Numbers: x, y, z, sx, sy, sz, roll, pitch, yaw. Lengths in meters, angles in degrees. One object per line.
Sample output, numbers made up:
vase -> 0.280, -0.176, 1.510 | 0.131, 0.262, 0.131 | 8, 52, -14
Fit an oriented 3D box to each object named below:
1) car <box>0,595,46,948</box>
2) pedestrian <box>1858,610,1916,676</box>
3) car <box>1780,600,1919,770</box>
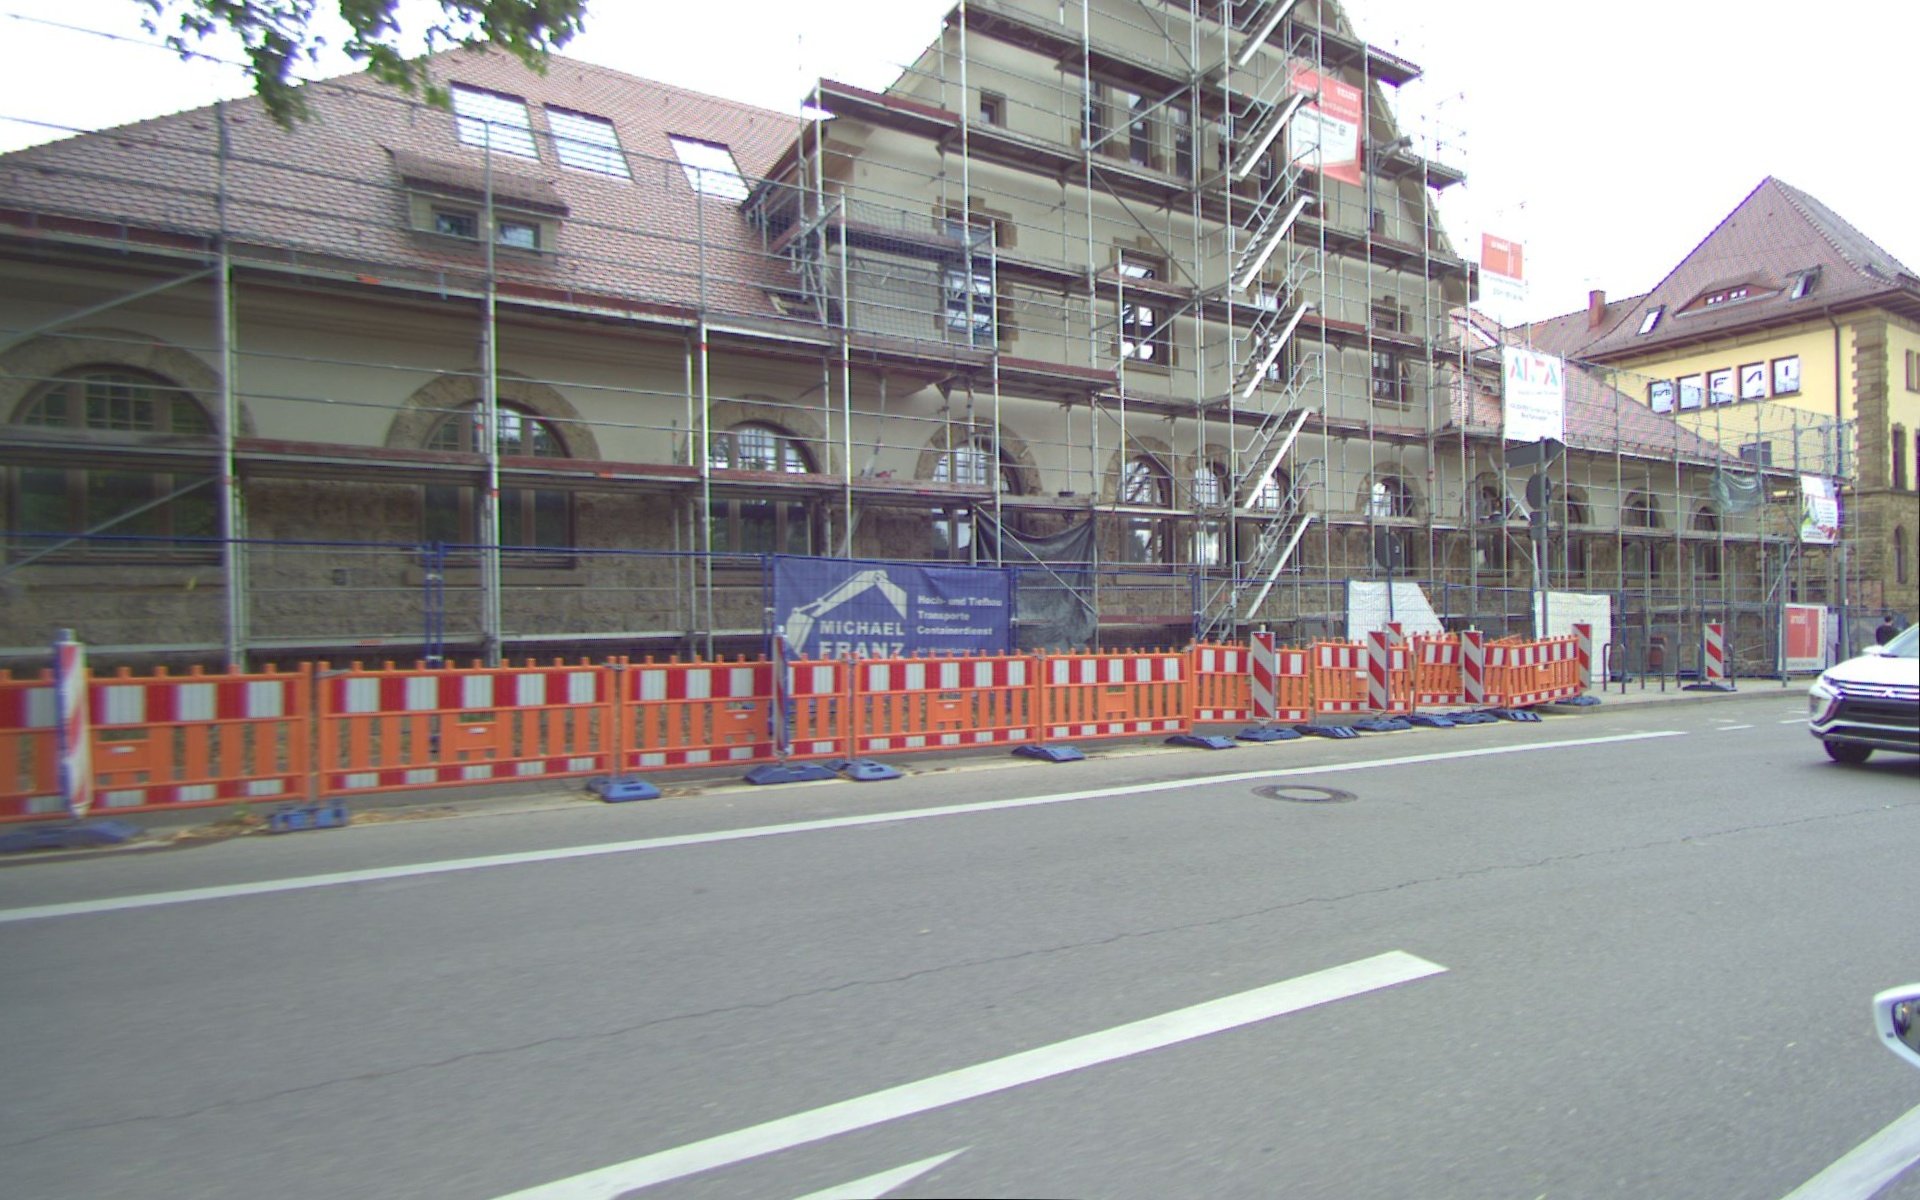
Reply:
car -> -5.917, 0.661, 2.691 | 4.792, 1.491, 1.793 | 2, -2, -30
pedestrian -> 25.358, 1.177, 27.476 | 0.788, 1.743, 0.919 | 2, 1, -27
car -> 11.153, 0.866, 10.712 | 4.441, 1.632, 1.789 | 1, -1, -21
